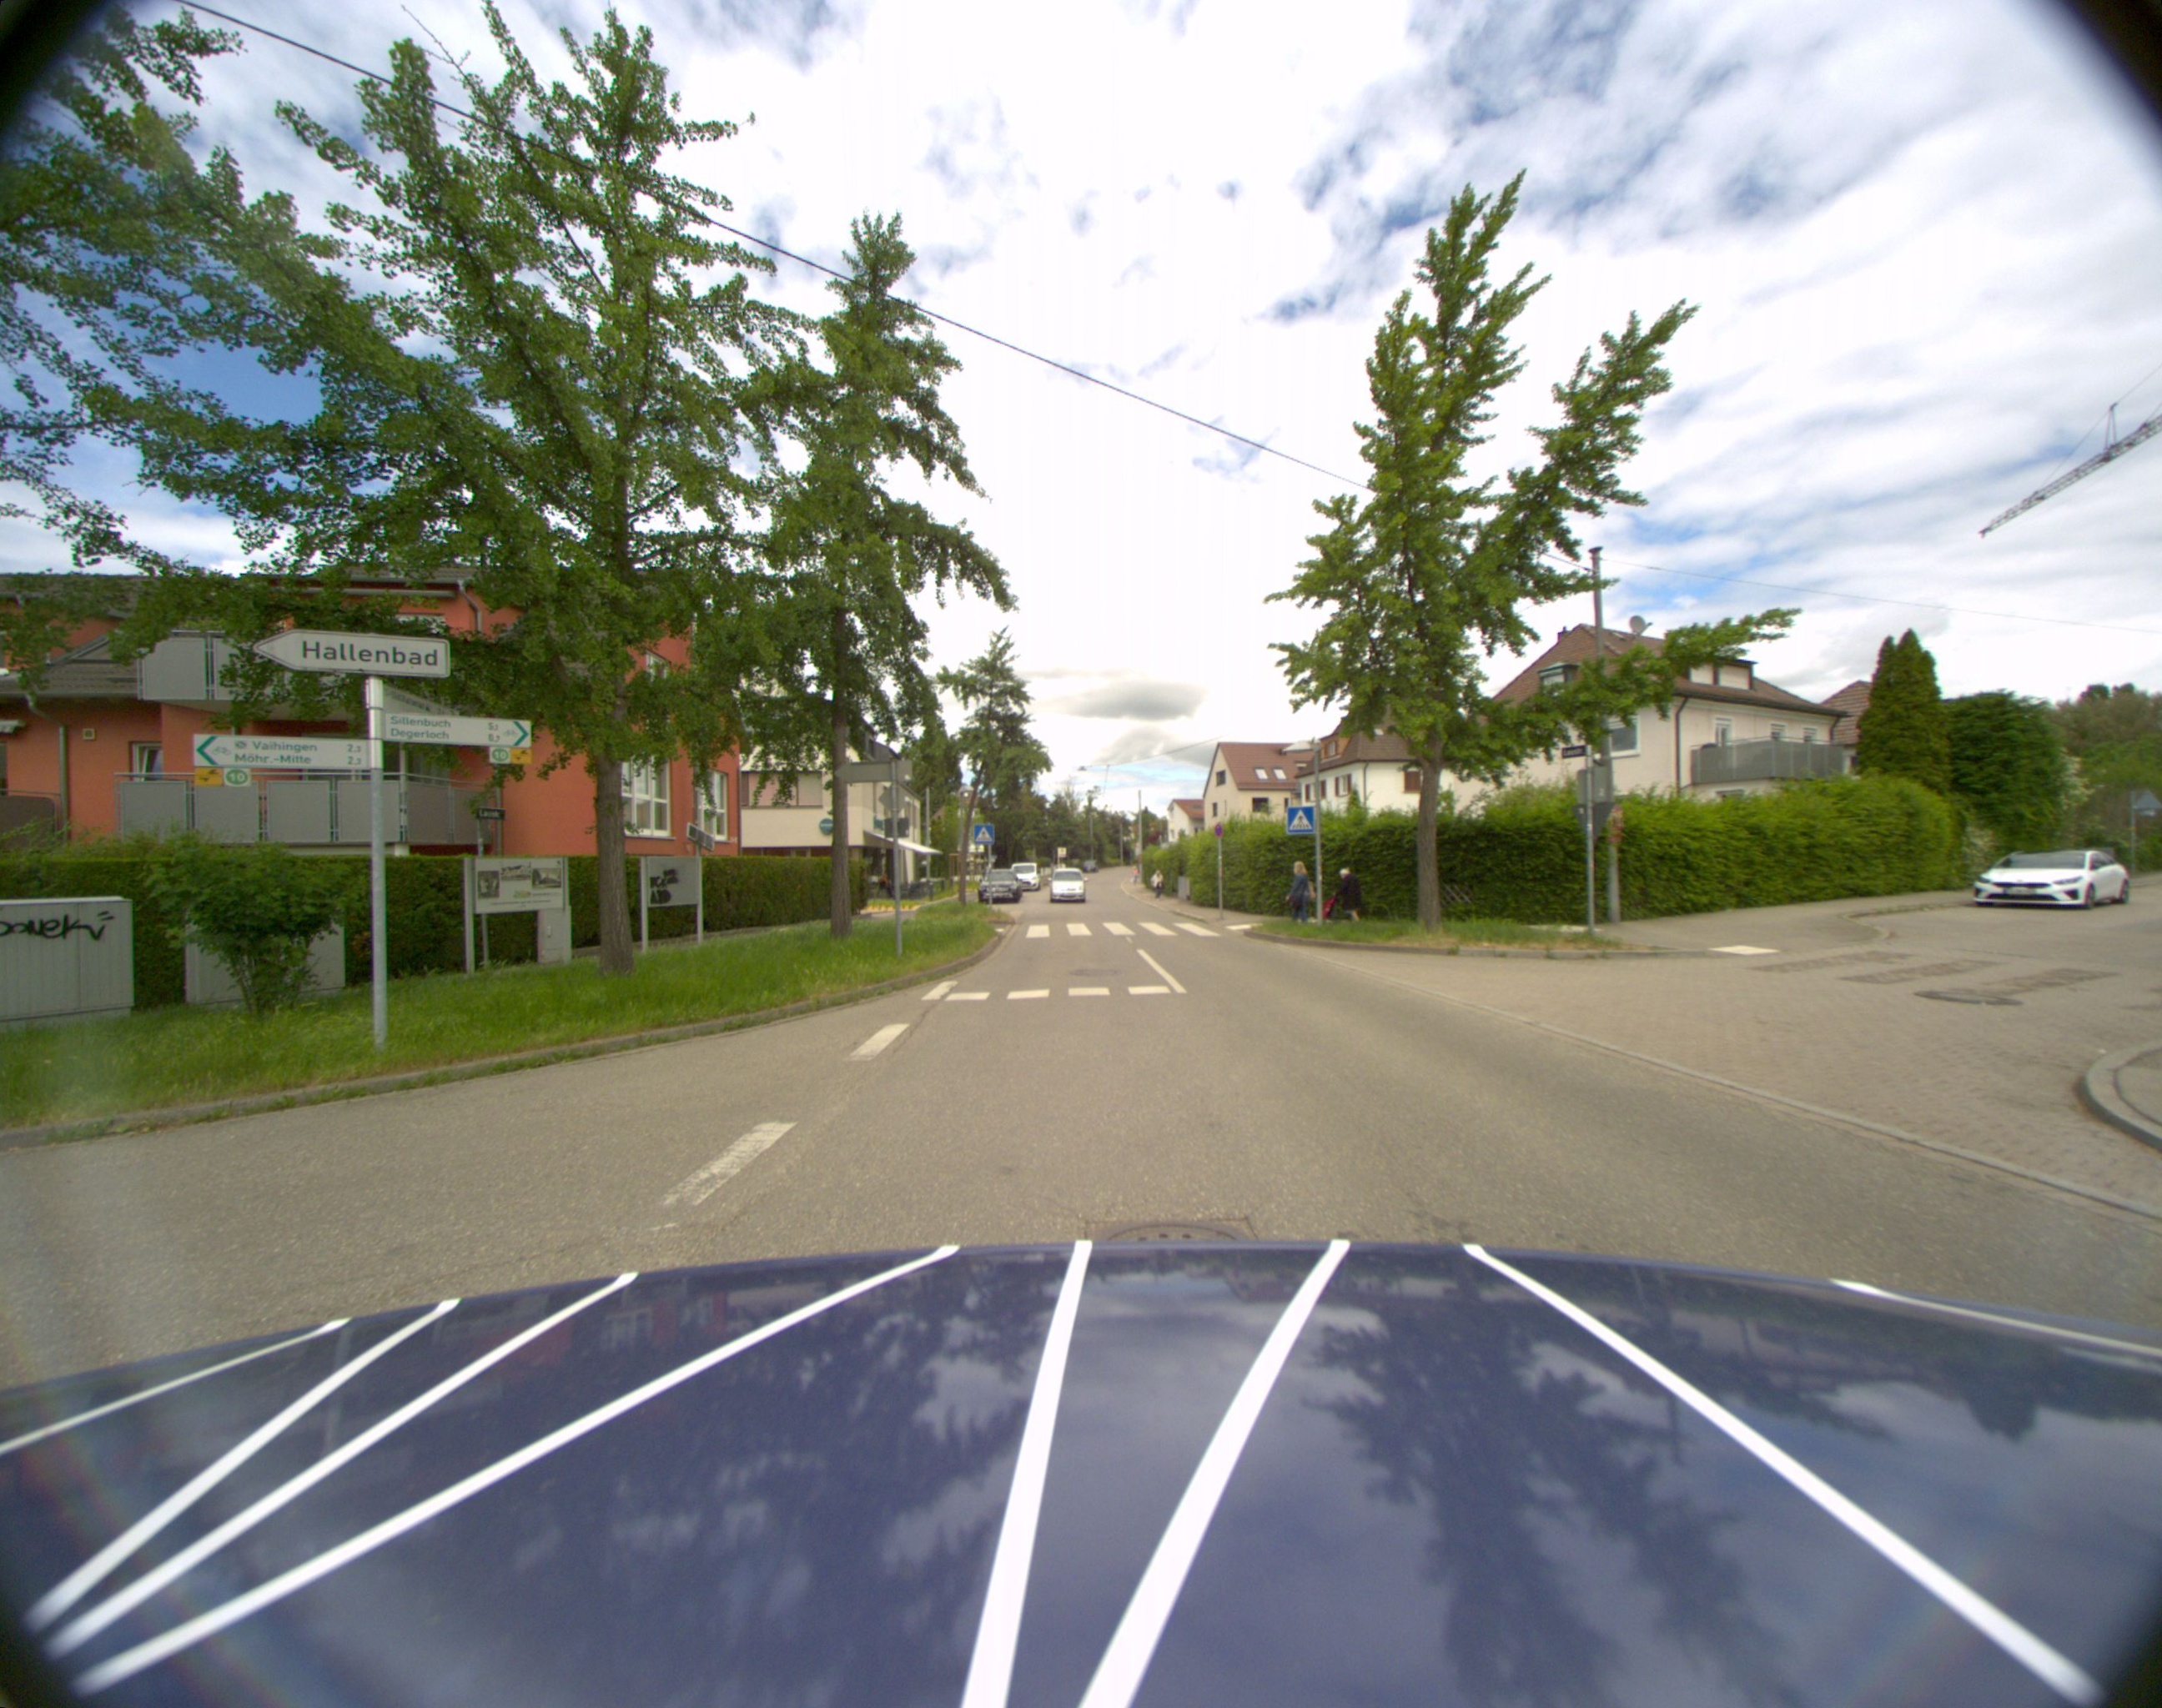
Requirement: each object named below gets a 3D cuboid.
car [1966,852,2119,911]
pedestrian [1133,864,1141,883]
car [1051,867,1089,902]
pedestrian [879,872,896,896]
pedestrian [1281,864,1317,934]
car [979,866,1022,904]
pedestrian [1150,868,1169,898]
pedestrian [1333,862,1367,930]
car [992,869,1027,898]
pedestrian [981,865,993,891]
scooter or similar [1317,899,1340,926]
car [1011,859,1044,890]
[{"bbox_3d":[24.526,0.636,19.371,3.778,1.305,1.777,-1,1,-28],"label":"car"},{"bbox_3d":[4.852,1.666,65.921,0.619,1.589,0.608,-1,0,-2],"label":"pedestrian"},{"bbox_3d":[-0.544,1.431,36.828,1.726,1.559,3.927,-1,0,-1],"label":"car"},{"bbox_3d":[-10.116,1.568,39.755,0.753,1.231,0.691,-1,0,-7],"label":"pedestrian"},{"bbox_3d":[5.148,1.056,17.945,0.597,1.610,0.679,-3,0,29],"label":"pedestrian"},{"bbox_3d":[-3.868,1.459,37.047,1.852,1.626,4.465,-2,0,-3],"label":"car"},{"bbox_3d":[3.967,1.463,38.498,0.749,1.522,0.544,-2,0,-14],"label":"pedestrian"},{"bbox_3d":[6.558,1.020,18.519,0.597,1.610,0.679,-3,0,29],"label":"pedestrian"},{"bbox_3d":[-3.955,1.625,42.422,1.711,1.443,3.834,-2,0,-2],"label":"car"},{"bbox_3d":[-6.054,1.514,48.857,0.678,1.659,0.660,0,0,-1],"label":"pedestrian"},{"bbox_3d":[6.112,1.449,18.747,0.399,0.606,0.489,-4,0,29],"label":"scooter or similar"},{"bbox_3d":[-3.734,1.426,54.089,1.999,2.002,5.566,-3,0,-2],"label":"car"}]
